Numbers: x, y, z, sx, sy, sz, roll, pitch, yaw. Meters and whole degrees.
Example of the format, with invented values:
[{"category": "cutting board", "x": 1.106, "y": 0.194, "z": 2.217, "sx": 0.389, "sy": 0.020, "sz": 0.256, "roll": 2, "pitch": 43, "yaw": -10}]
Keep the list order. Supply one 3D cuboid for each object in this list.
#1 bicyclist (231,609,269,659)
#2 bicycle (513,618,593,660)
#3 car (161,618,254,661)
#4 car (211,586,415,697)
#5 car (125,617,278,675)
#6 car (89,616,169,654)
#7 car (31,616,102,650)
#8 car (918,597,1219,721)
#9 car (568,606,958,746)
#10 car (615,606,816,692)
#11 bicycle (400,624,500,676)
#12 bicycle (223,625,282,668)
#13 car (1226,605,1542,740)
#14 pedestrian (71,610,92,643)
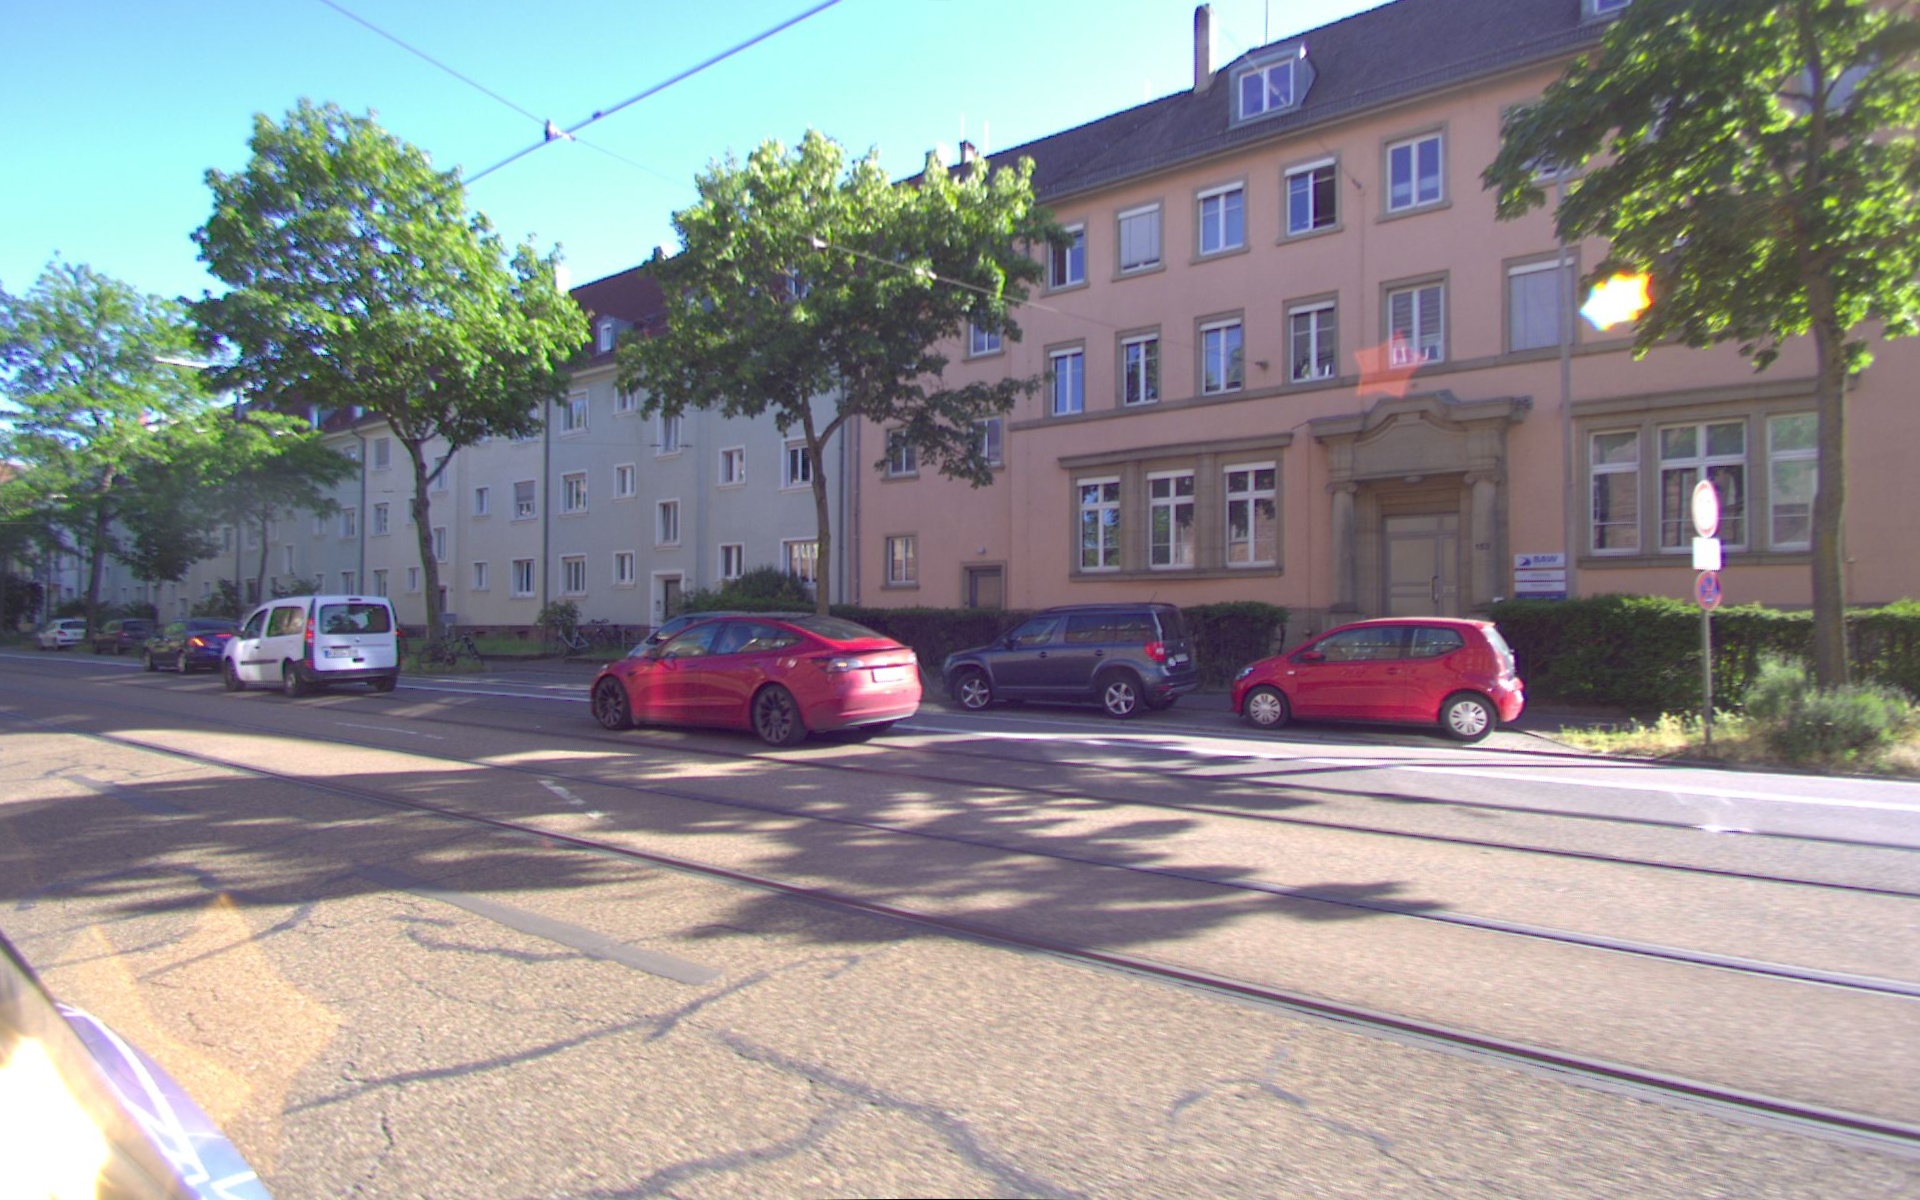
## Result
[{"category": "bicyclist", "x": -21.101, "y": 1.012, "z": 30.082, "sx": 0.867, "sy": 1.468, "sz": 0.553, "roll": -1, "pitch": -5, "yaw": 33}, {"category": "bicycle", "x": -12.682, "y": 1.200, "z": 31.569, "sx": 0.559, "sy": 1.207, "sz": 2.260, "roll": -2, "pitch": 0, "yaw": 42}, {"category": "car", "x": -28.002, "y": 1.435, "z": 37.635, "sx": 3.920, "sy": 1.468, "sz": 1.547, "roll": -1, "pitch": 1, "yaw": 34}, {"category": "car", "x": -12.427, "y": 0.753, "z": 19.342, "sx": 4.431, "sy": 1.903, "sz": 1.793, "roll": -1, "pitch": -2, "yaw": 36}, {"category": "car", "x": -19.881, "y": 1.155, "z": 26.488, "sx": 4.427, "sy": 1.397, "sz": 1.795, "roll": -1, "pitch": -2, "yaw": 33}, {"category": "car", "x": -35.360, "y": 1.476, "z": 43.066, "sx": 3.751, "sy": 1.496, "sz": 1.672, "roll": -1, "pitch": 1, "yaw": 35}, {"category": "car", "x": -42.927, "y": 1.561, "z": 48.609, "sx": 4.070, "sy": 1.496, "sz": 1.687, "roll": -1, "pitch": 1, "yaw": 36}, {"category": "car", "x": 1.639, "y": 0.851, "z": 15.863, "sx": 4.376, "sy": 1.673, "sz": 1.732, "roll": -1, "pitch": 1, "yaw": 32}, {"category": "car", "x": -2.476, "y": 0.802, "z": 12.194, "sx": 4.675, "sy": 1.397, "sz": 1.904, "roll": -1, "pitch": -2, "yaw": 35}, {"category": "car", "x": -5.088, "y": 0.959, "z": 20.923, "sx": 4.058, "sy": 1.581, "sz": 1.731, "roll": -1, "pitch": 1, "yaw": 34}, {"category": "bicycle", "x": -13.329, "y": 1.284, "z": 26.508, "sx": 0.559, "sy": 1.207, "sz": 2.260, "roll": -2, "pitch": 0, "yaw": 42}, {"category": "bicycle", "x": -20.941, "y": 1.375, "z": 29.942, "sx": 2.285, "sy": 1.207, "sz": 0.553, "roll": -1, "pitch": -5, "yaw": 33}, {"category": "car", "x": 5.484, "y": 0.857, "z": 13.185, "sx": 3.600, "sy": 1.499, "sz": 1.570, "roll": -1, "pitch": 1, "yaw": 32}, {"category": "pedestrian", "x": -47.951, "y": 1.453, "z": 55.227, "sx": 0.811, "sy": 1.815, "sz": 0.685, "roll": -1, "pitch": -2, "yaw": 36}]
